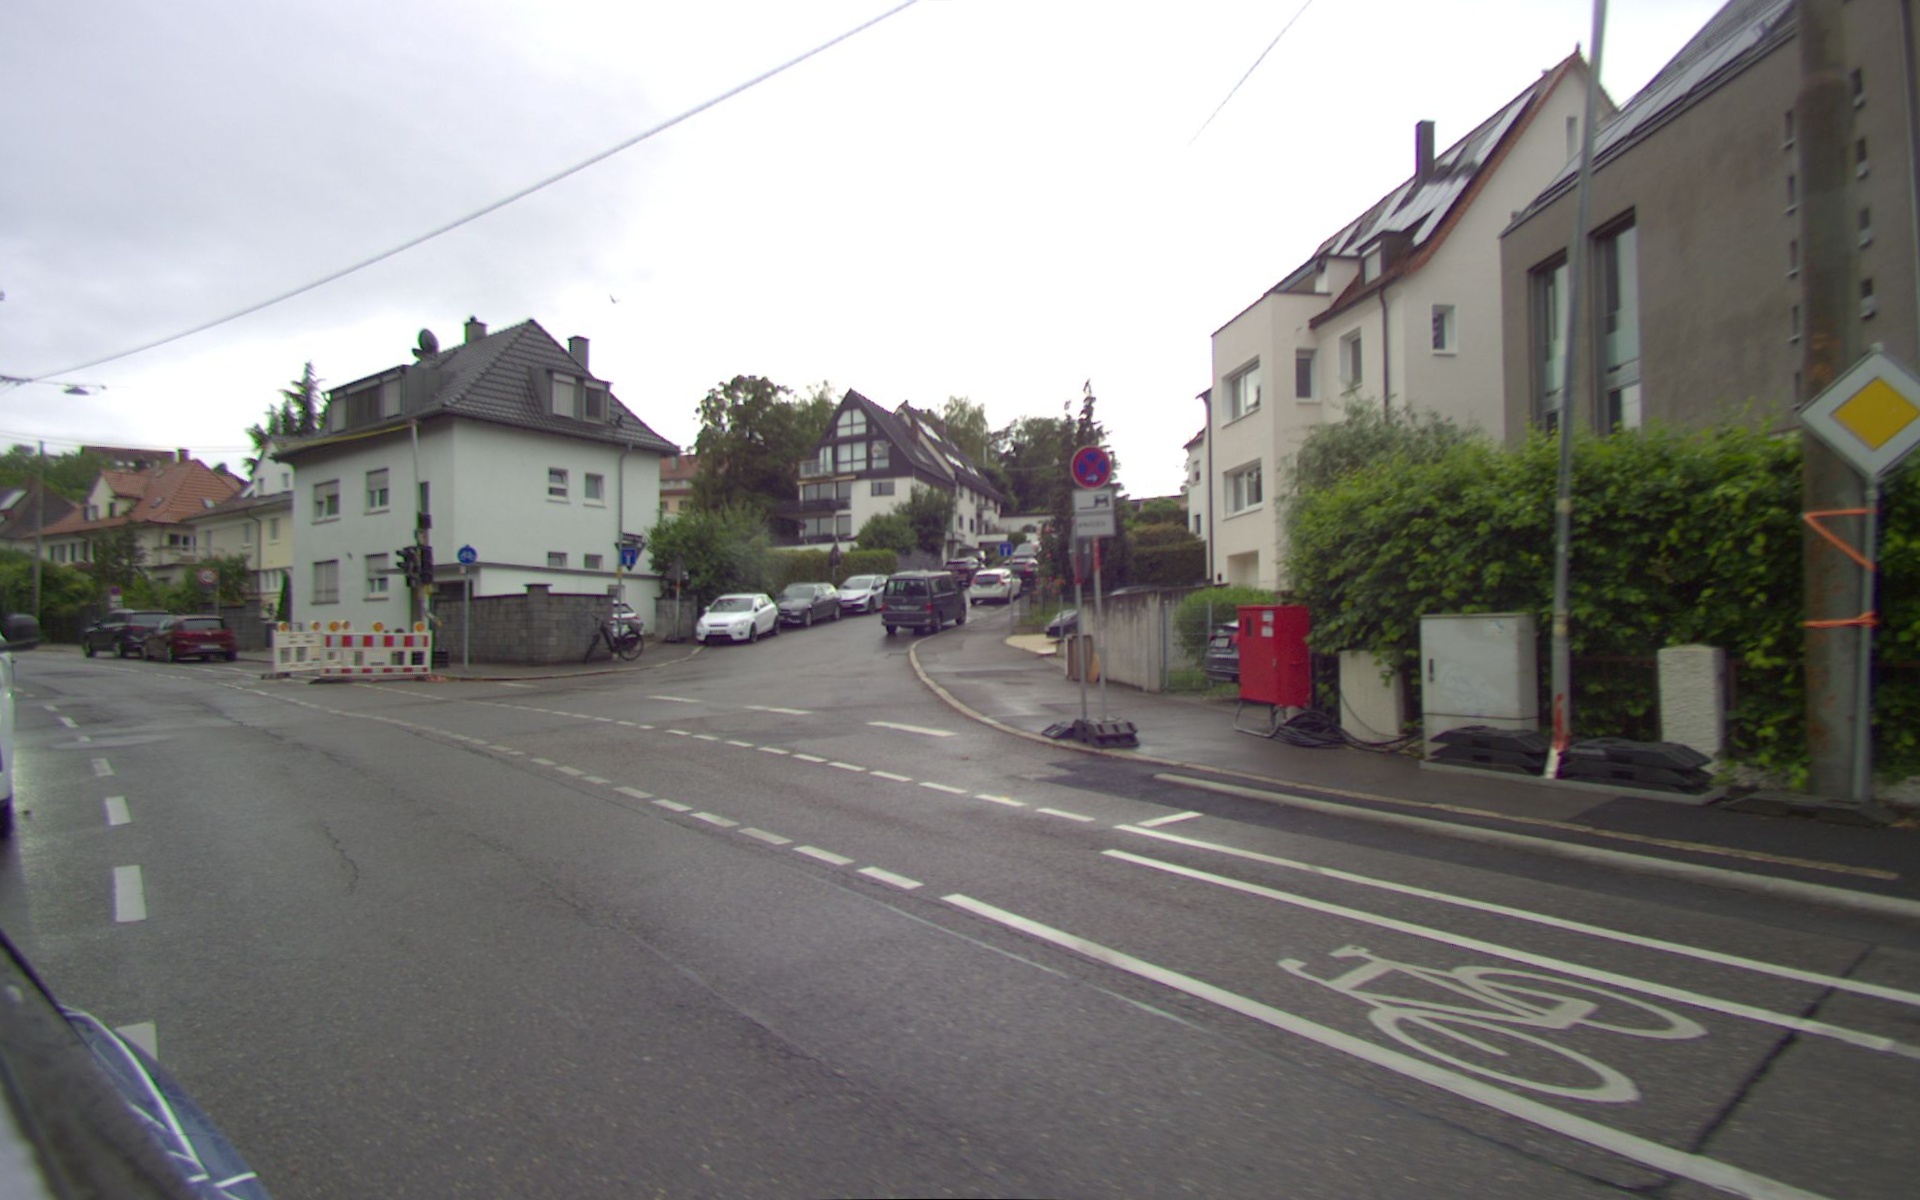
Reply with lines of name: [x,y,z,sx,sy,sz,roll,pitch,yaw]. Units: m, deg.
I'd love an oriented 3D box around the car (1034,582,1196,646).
car: [4.069,0.352,26.794,3.861,1.342,1.570,-4,0,-8]

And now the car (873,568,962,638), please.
car: [-1.394,0.057,34.756,1.898,1.950,3.779,-2,5,16]

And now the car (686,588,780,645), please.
car: [-7.169,0.490,32.318,1.730,1.476,3.553,-2,3,8]

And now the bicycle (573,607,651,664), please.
bicycle: [-8.654,0.860,25.234,0.707,1.321,1.709,-1,0,41]

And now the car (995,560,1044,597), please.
car: [2.993,-1.110,50.195,1.570,1.479,3.543,-2,6,17]

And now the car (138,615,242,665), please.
car: [-24.585,1.289,32.267,3.794,1.505,1.873,-4,-3,40]

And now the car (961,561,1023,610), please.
car: [1.468,-0.669,45.252,1.905,1.850,3.397,-2,5,16]

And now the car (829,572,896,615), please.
car: [-4.097,-0.305,42.995,1.568,1.476,3.838,-1,5,15]

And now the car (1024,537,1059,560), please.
car: [6.509,-4.089,80.016,1.725,1.510,3.807,-1,6,21]

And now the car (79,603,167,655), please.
car: [-29.000,1.024,35.039,4.002,1.601,1.648,-4,-1,40]

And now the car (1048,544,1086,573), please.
car: [6.708,-2.619,63.037,1.681,1.479,3.543,-2,6,17]

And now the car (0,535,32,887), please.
car: [-7.425,0.601,6.489,2.015,1.908,5.216,-1,0,-41]

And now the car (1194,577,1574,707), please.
car: [5.395,0.520,13.179,4.199,1.378,1.615,-3,-1,-4]

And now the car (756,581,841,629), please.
car: [-6.016,0.161,38.170,1.689,1.476,3.837,-2,3,15]

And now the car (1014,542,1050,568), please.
car: [5.282,-3.293,73.761,1.723,1.510,3.810,-1,6,19]

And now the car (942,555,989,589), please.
car: [0.334,-1.605,57.884,1.326,1.566,3.960,-1,6,21]
